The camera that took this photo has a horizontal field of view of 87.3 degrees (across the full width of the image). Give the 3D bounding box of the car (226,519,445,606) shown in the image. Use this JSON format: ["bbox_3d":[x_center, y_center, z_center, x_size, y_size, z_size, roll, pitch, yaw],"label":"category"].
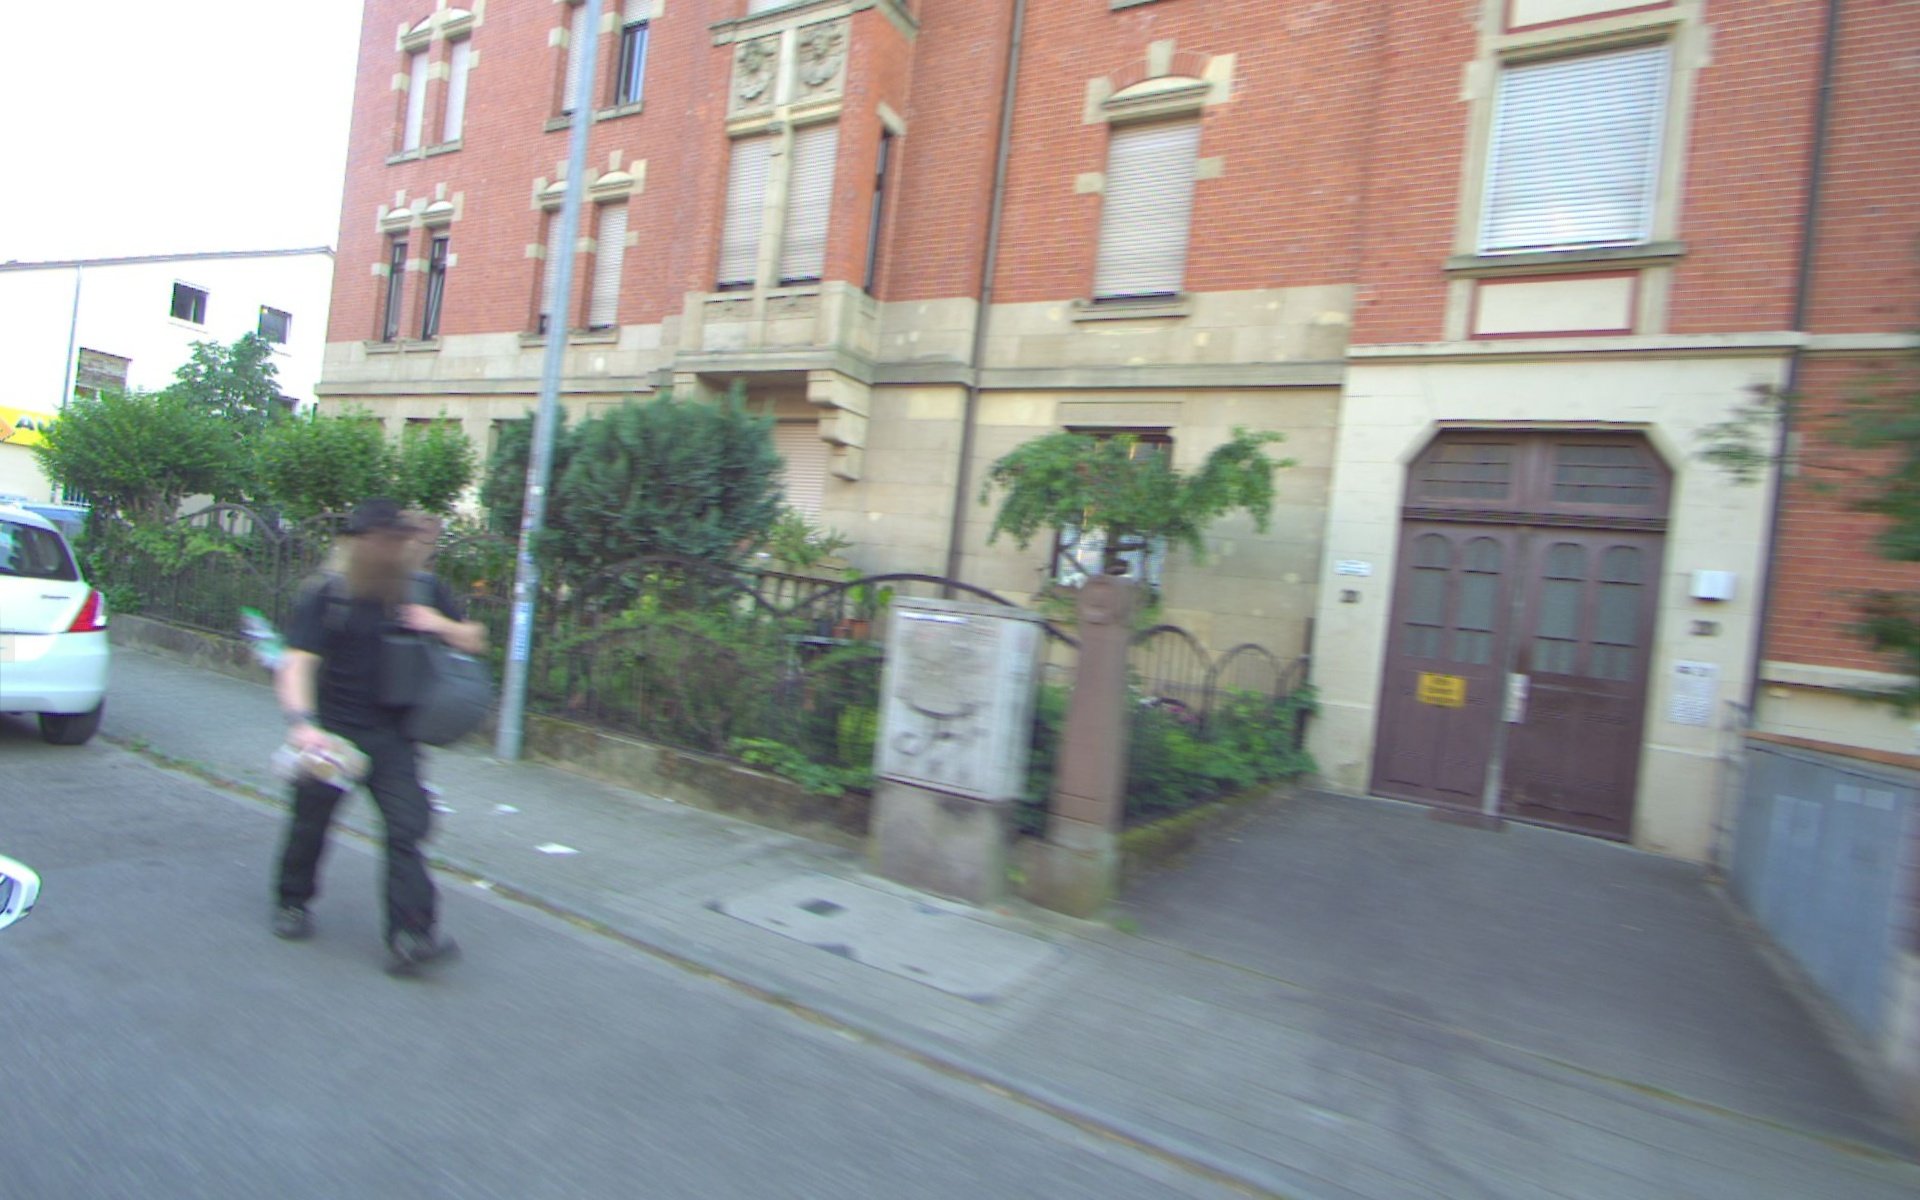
[{"bbox_3d":[-15.761,-0.888,25.646,1.847,1.692,4.327,5,-2,29],"label":"car"}]

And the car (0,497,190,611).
[{"bbox_3d":[-14.259,-0.792,15.877,4.348,1.442,1.728,6,1,30],"label":"car"}]

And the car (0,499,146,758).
[{"bbox_3d":[-7.240,-0.018,6.679,3.799,1.494,1.677,6,-1,33],"label":"car"}]

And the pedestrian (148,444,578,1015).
[{"bbox_3d":[-2.176,0.400,3.694,0.944,1.742,0.889,6,-1,37],"label":"pedestrian"}]
